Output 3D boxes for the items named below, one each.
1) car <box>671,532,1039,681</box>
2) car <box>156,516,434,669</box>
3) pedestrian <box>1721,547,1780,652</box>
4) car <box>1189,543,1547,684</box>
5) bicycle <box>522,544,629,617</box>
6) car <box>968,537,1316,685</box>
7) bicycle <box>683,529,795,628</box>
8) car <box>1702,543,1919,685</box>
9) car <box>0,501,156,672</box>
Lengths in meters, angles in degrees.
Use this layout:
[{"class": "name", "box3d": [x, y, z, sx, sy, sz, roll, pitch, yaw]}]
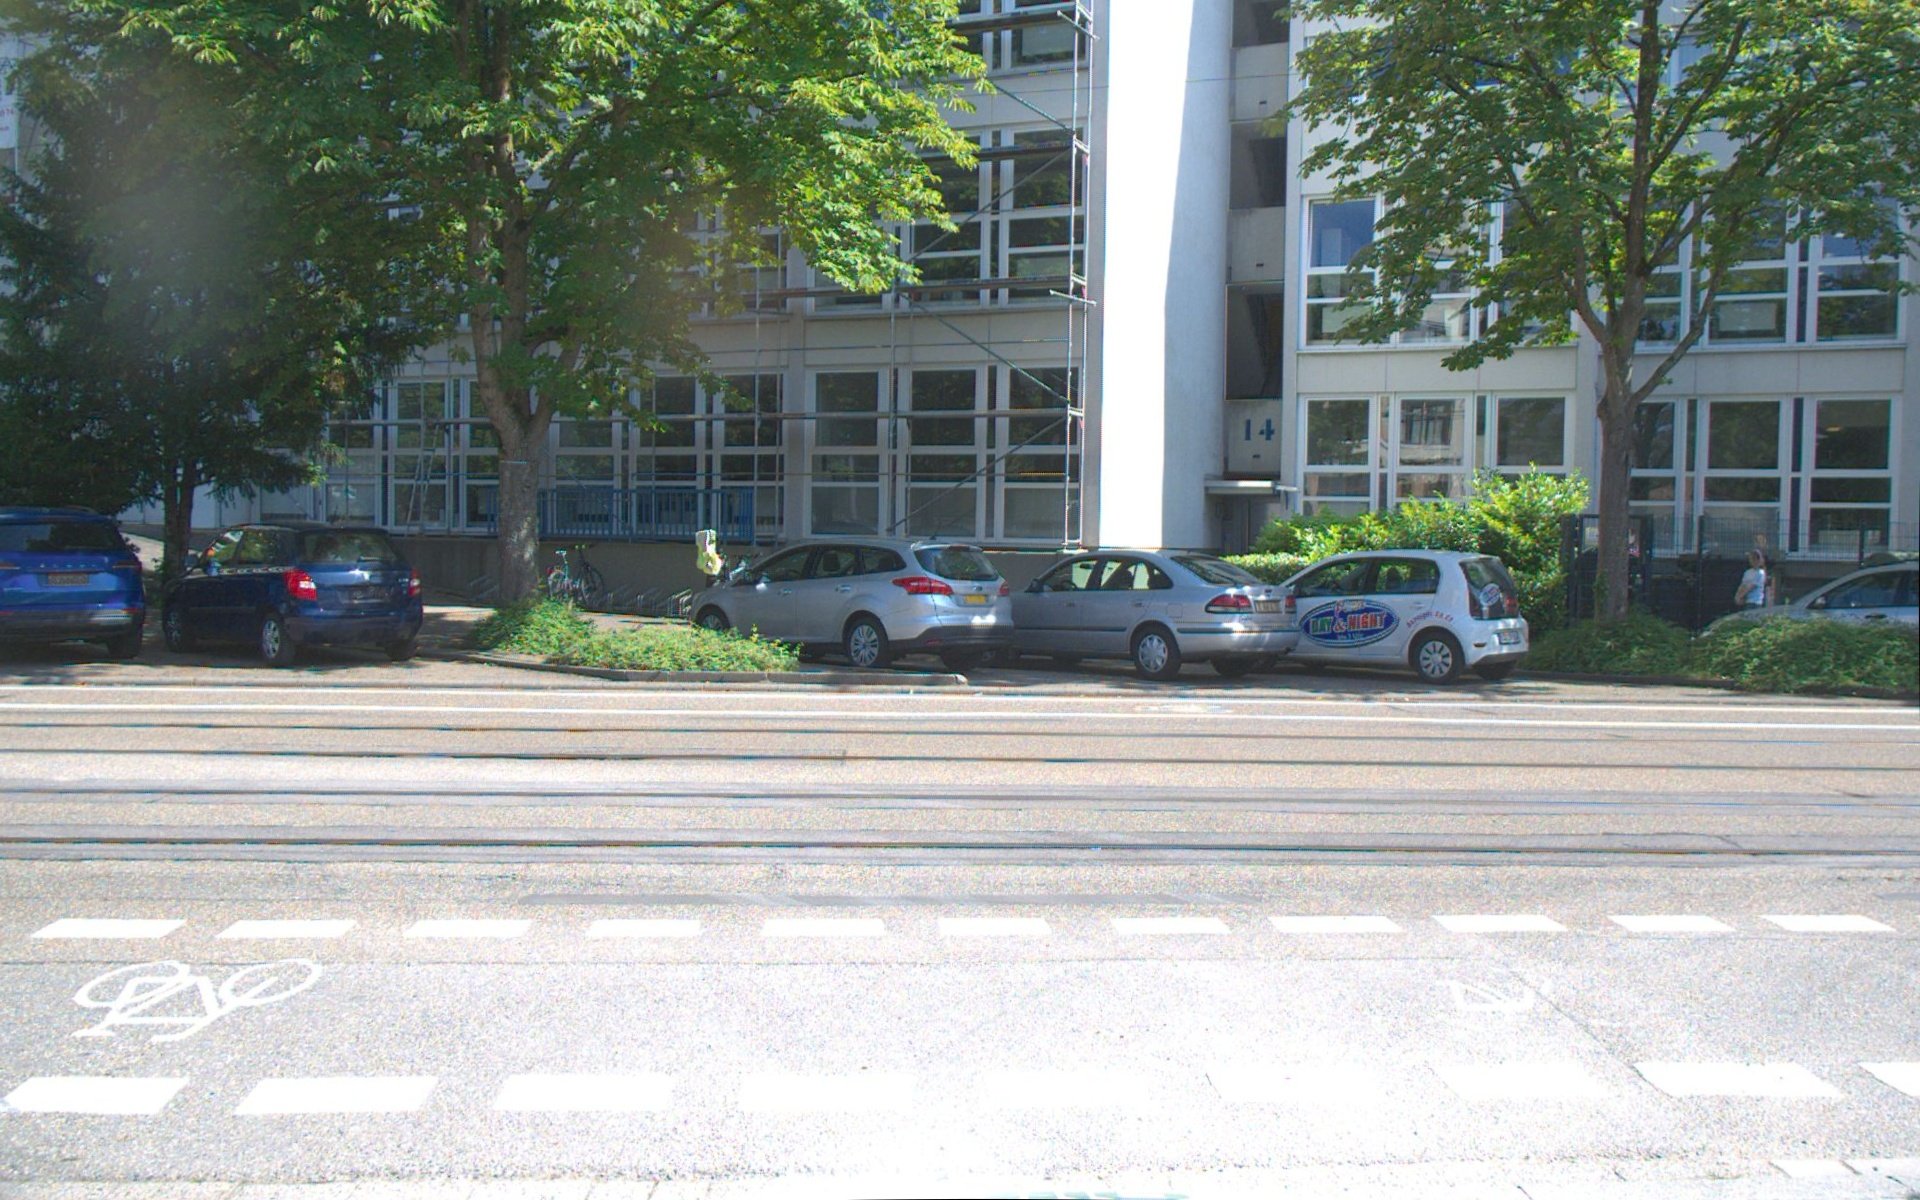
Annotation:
[{"class": "car", "box3d": [-1.319, -0.007, 19.362, 4.356, 1.511, 1.774, 3, 3, 42]}, {"class": "car", "box3d": [-7.503, -0.146, 18.551, 3.397, 1.557, 1.567, 3, 3, 42]}, {"class": "pedestrian", "box3d": [11.361, -0.011, 23.775, 0.608, 1.486, 0.424, 1, 2, -6]}, {"class": "car", "box3d": [4.786, 0.095, 19.709, 3.876, 1.512, 1.603, 1, 2, 43]}, {"class": "bicycle", "box3d": [-6.144, -0.341, 26.572, 0.725, 1.104, 2.205, 1, 2, 15]}, {"class": "car", "box3d": [2.043, 0.054, 19.312, 3.878, 1.511, 1.602, 3, 3, 44]}, {"class": "bicycle", "box3d": [-3.424, -0.358, 25.814, 0.648, 1.478, 2.088, 2, 2, 27]}, {"class": "car", "box3d": [11.466, 0.164, 20.038, 4.262, 1.632, 1.551, 2, 2, 39]}, {"class": "car", "box3d": [-10.514, -0.239, 18.350, 1.767, 1.650, 3.883, -2, 5, -44]}]
